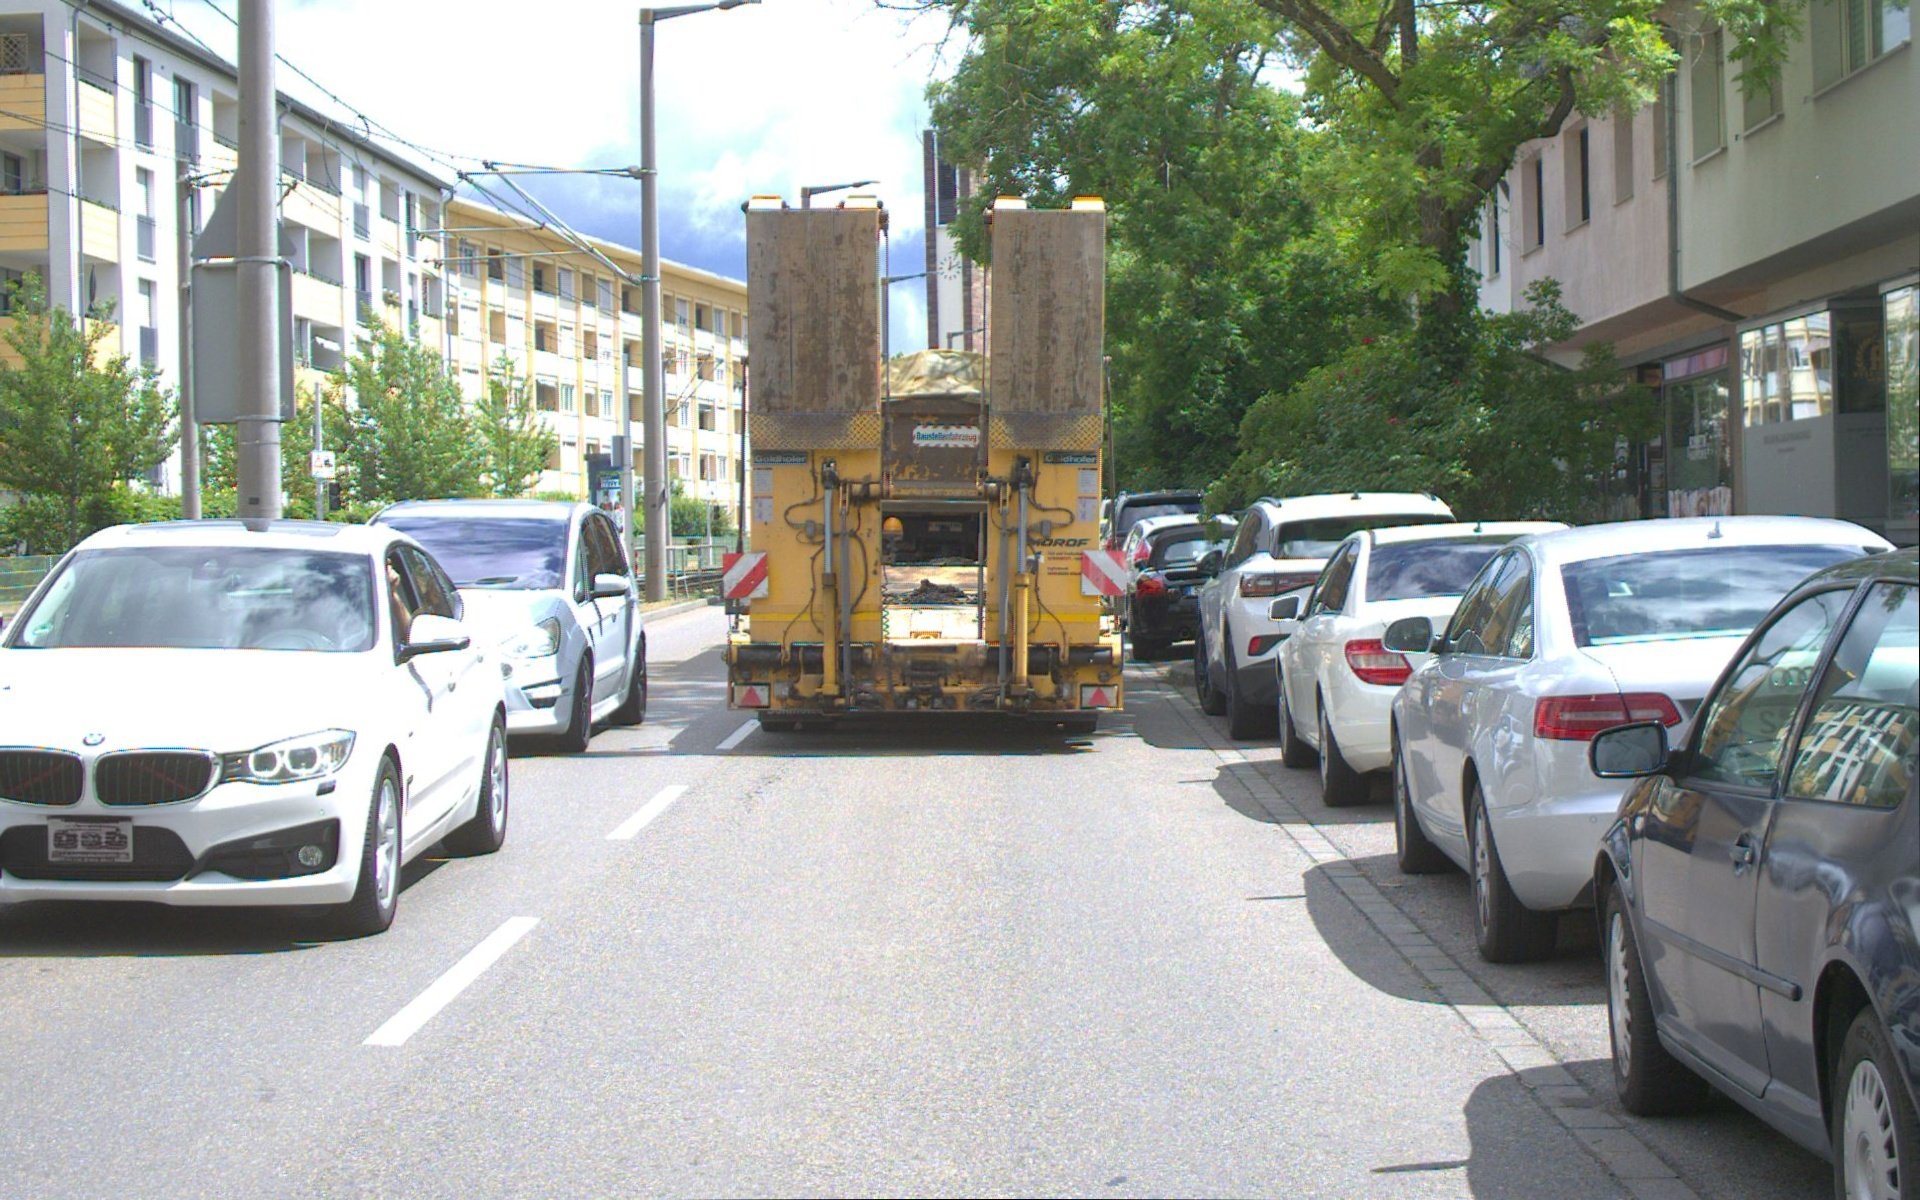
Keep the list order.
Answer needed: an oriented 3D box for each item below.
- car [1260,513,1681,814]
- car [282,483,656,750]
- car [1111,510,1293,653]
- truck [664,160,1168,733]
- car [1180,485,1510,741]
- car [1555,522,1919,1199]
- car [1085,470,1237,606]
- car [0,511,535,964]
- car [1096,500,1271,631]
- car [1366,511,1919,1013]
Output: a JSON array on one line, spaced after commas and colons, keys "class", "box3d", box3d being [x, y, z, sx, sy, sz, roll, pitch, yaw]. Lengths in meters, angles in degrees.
[{"class": "car", "box3d": [2.667, 0.250, 18.867, 1.725, 1.421, 4.446, -1, 2, 1]}, {"class": "car", "box3d": [-3.191, 0.033, 23.217, 1.817, 1.608, 4.602, 1, 2, 1]}, {"class": "car", "box3d": [2.611, -0.234, 36.834, 1.771, 1.345, 4.000, -3, 1, 5]}, {"class": "truck", "box3d": [-0.186, -1.141, 27.696, 3.124, 3.552, 12.460, 0, 2, 1]}, {"class": "car", "box3d": [2.613, 0.018, 24.262, 1.837, 1.638, 4.430, 0, 2, 0]}, {"class": "car", "box3d": [2.444, 0.578, 7.339, 1.814, 1.458, 4.041, -1, 2, 3]}, {"class": "car", "box3d": [2.822, -0.907, 48.976, 2.015, 1.782, 5.076, -1, 2, 2]}, {"class": "car", "box3d": [-2.938, 0.405, 14.056, 1.817, 1.497, 4.837, 1, 2, 0]}, {"class": "car", "box3d": [2.708, -0.454, 42.374, 1.771, 1.437, 3.900, -3, 1, -1]}, {"class": "car", "box3d": [2.617, 0.434, 12.904, 1.814, 1.493, 4.911, -1, 2, 3]}]
